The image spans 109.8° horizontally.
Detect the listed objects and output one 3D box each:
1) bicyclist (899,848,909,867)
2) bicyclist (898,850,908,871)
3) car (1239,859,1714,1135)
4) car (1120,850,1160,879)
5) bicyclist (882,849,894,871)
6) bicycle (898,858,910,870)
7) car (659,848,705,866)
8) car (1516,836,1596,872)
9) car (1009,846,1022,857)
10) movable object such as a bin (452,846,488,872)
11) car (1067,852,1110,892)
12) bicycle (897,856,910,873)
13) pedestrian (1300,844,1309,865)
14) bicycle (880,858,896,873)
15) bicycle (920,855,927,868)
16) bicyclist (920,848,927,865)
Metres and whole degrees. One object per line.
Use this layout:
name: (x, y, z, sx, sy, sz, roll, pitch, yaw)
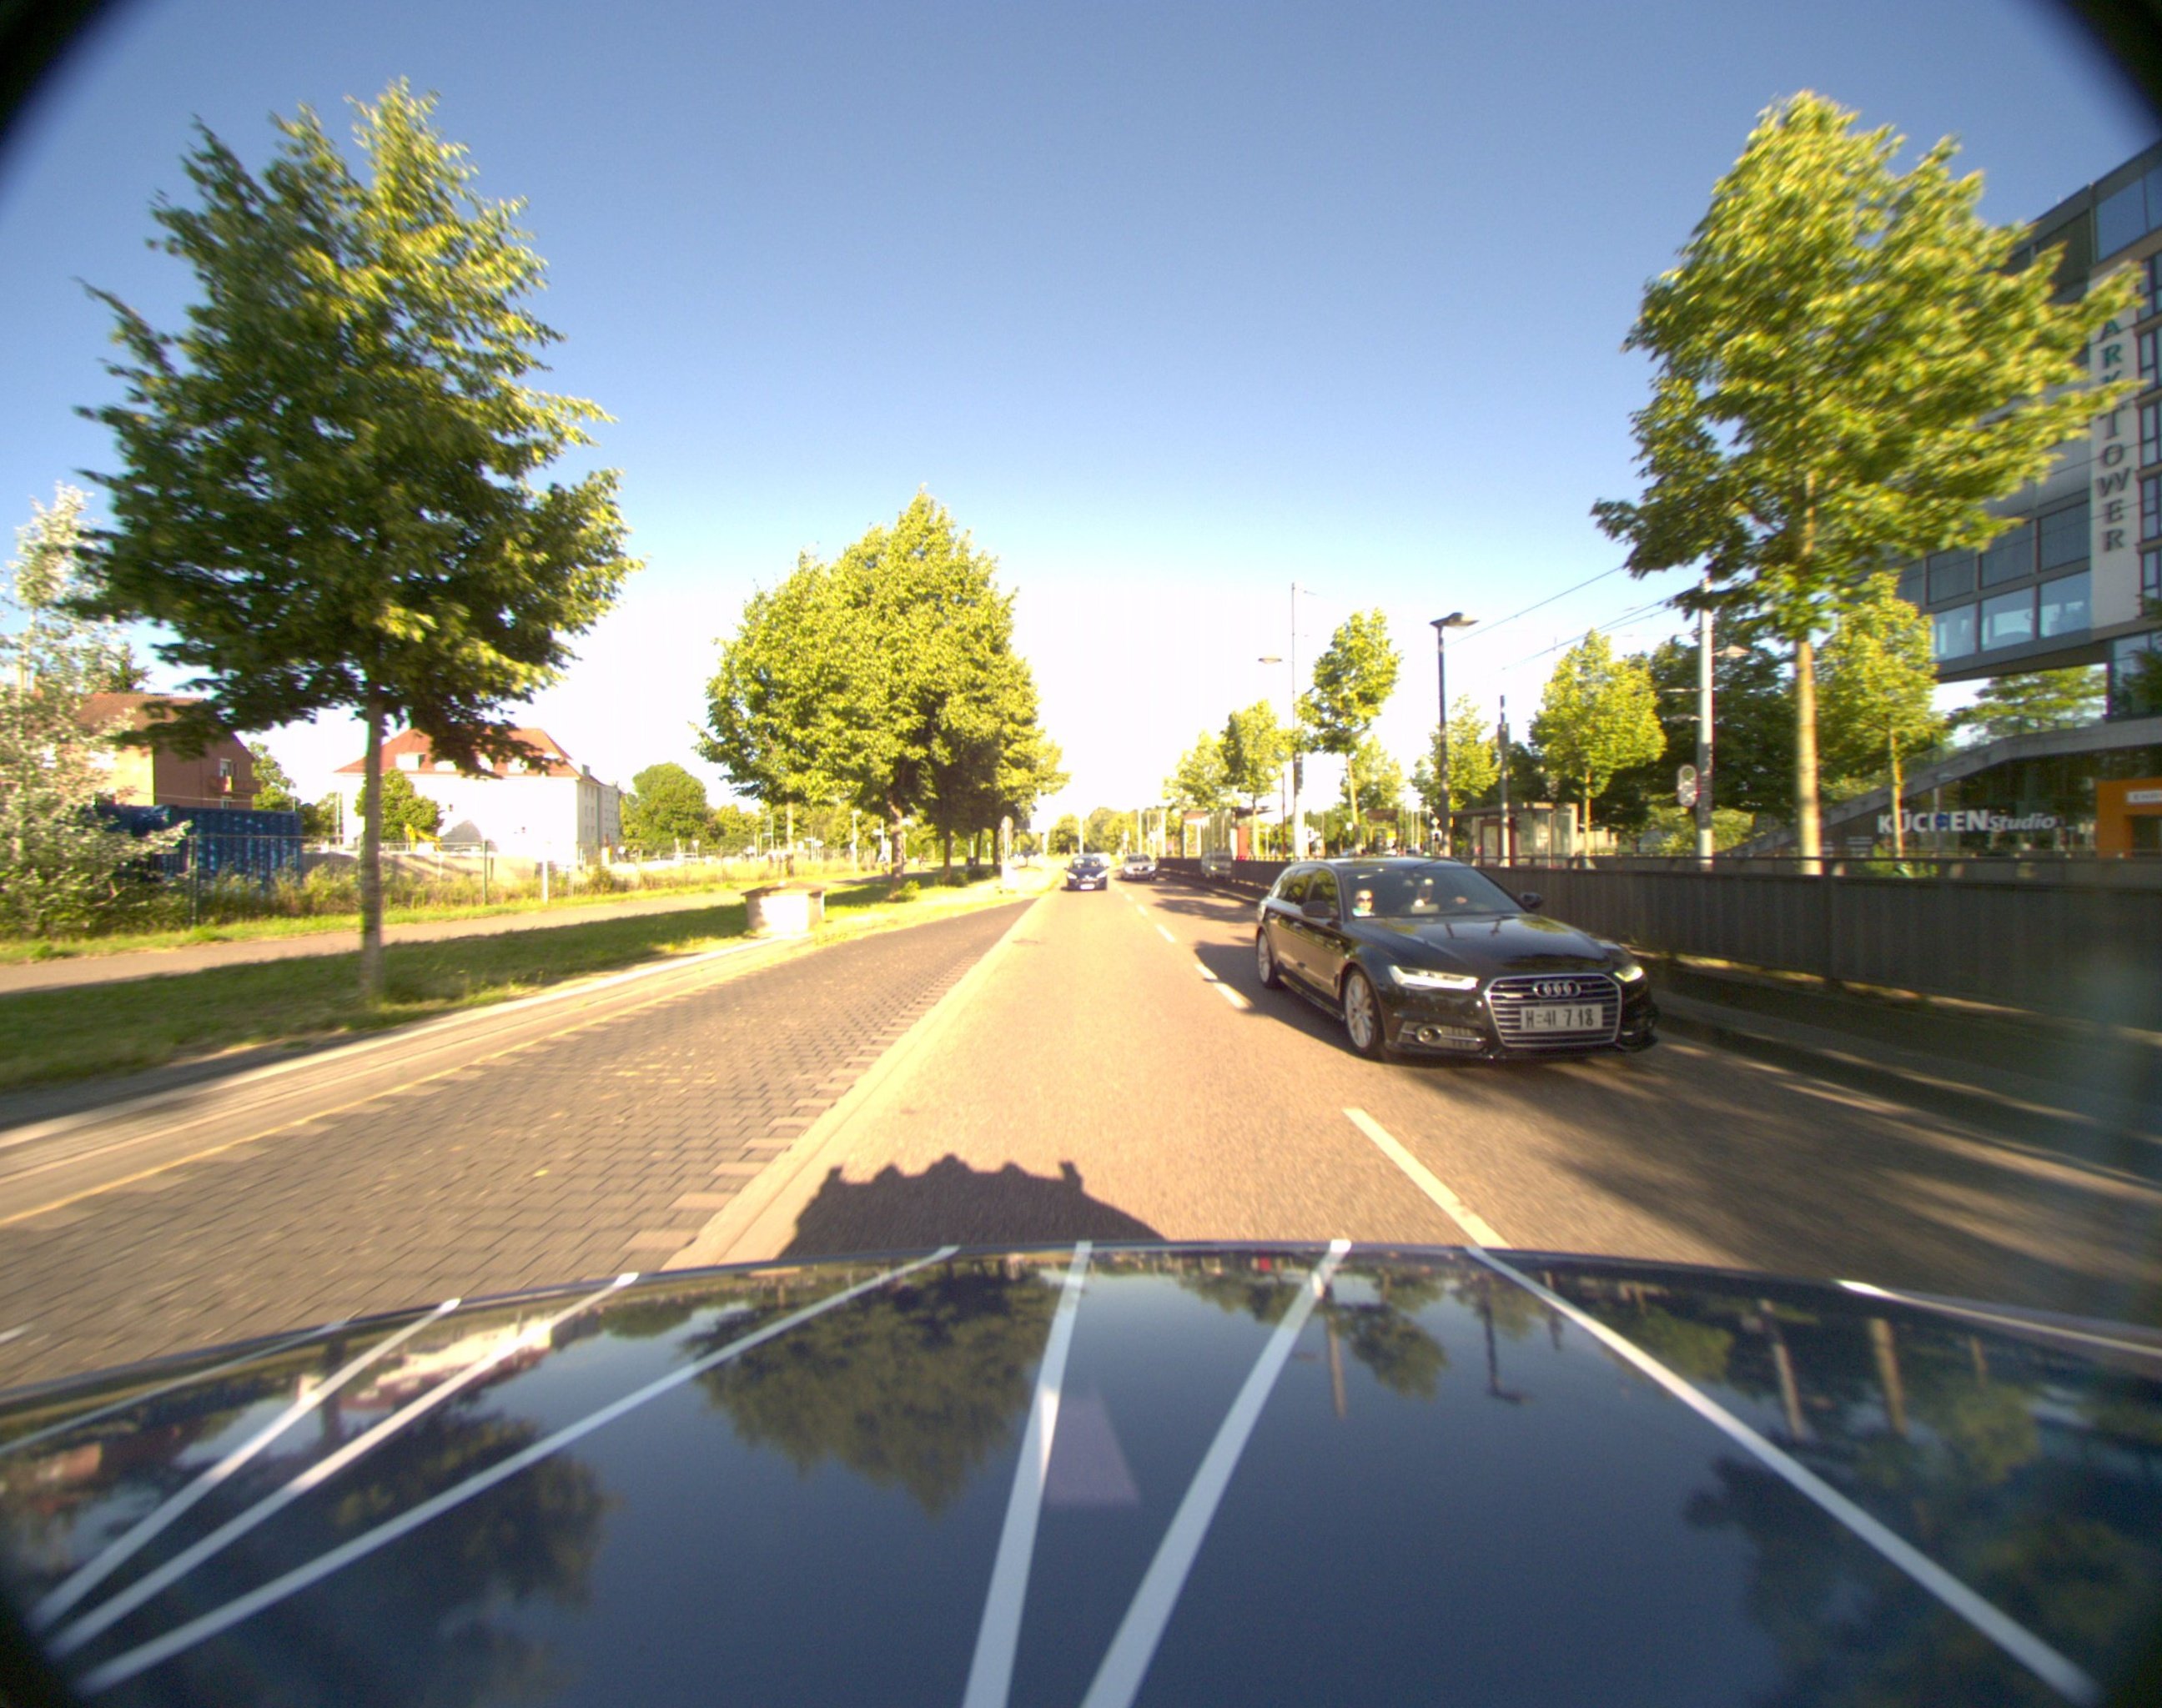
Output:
bicyclist: (-15.333, 0.296, 65.779, 0.592, 1.578, 0.965, -1, 2, 1)
bicyclist: (-12.742, 0.453, 54.482, 0.504, 1.464, 0.833, -1, 1, 1)
car: (2.818, 0.861, 6.776, 1.789, 1.518, 4.600, -2, 0, 0)
car: (3.311, 0.569, 43.479, 1.849, 1.560, 4.527, 0, 0, -2)
bicyclist: (-13.728, 0.451, 54.018, 0.654, 1.544, 0.794, -1, 1, 1)
bicycle: (-15.331, 0.830, 65.822, 0.593, 0.955, 1.900, -1, 2, 1)
car: (-46.035, 0.340, 87.796, 1.996, 2.002, 4.478, 0, 1, 18)
car: (23.213, -0.038, 37.296, 1.620, 1.656, 3.774, -1, 2, 1)
car: (-10.148, -0.414, 117.916, 1.701, 1.555, 3.675, 0, 1, 0)
movable object such as a bin: (-49.400, 0.380, 61.432, 2.072, 2.002, 1.994, -3, 3, -41)
car: (0.351, 0.751, 33.617, 1.763, 1.507, 3.947, -1, 2, 1)
bicycle: (-12.734, 0.746, 54.539, 0.507, 1.145, 1.605, 0, 1, 0)
pedestrian: (17.461, 0.015, 59.354, 0.418, 1.569, 0.811, -1, 2, -2)
bicycle: (-13.732, 0.810, 54.011, 0.657, 1.006, 1.820, 0, 0, 1)
bicycle: (-13.784, 0.631, 66.577, 0.479, 1.076, 1.642, -1, 2, -9)
bicyclist: (-13.785, 0.242, 66.529, 0.472, 1.478, 0.914, -1, 2, -9)
